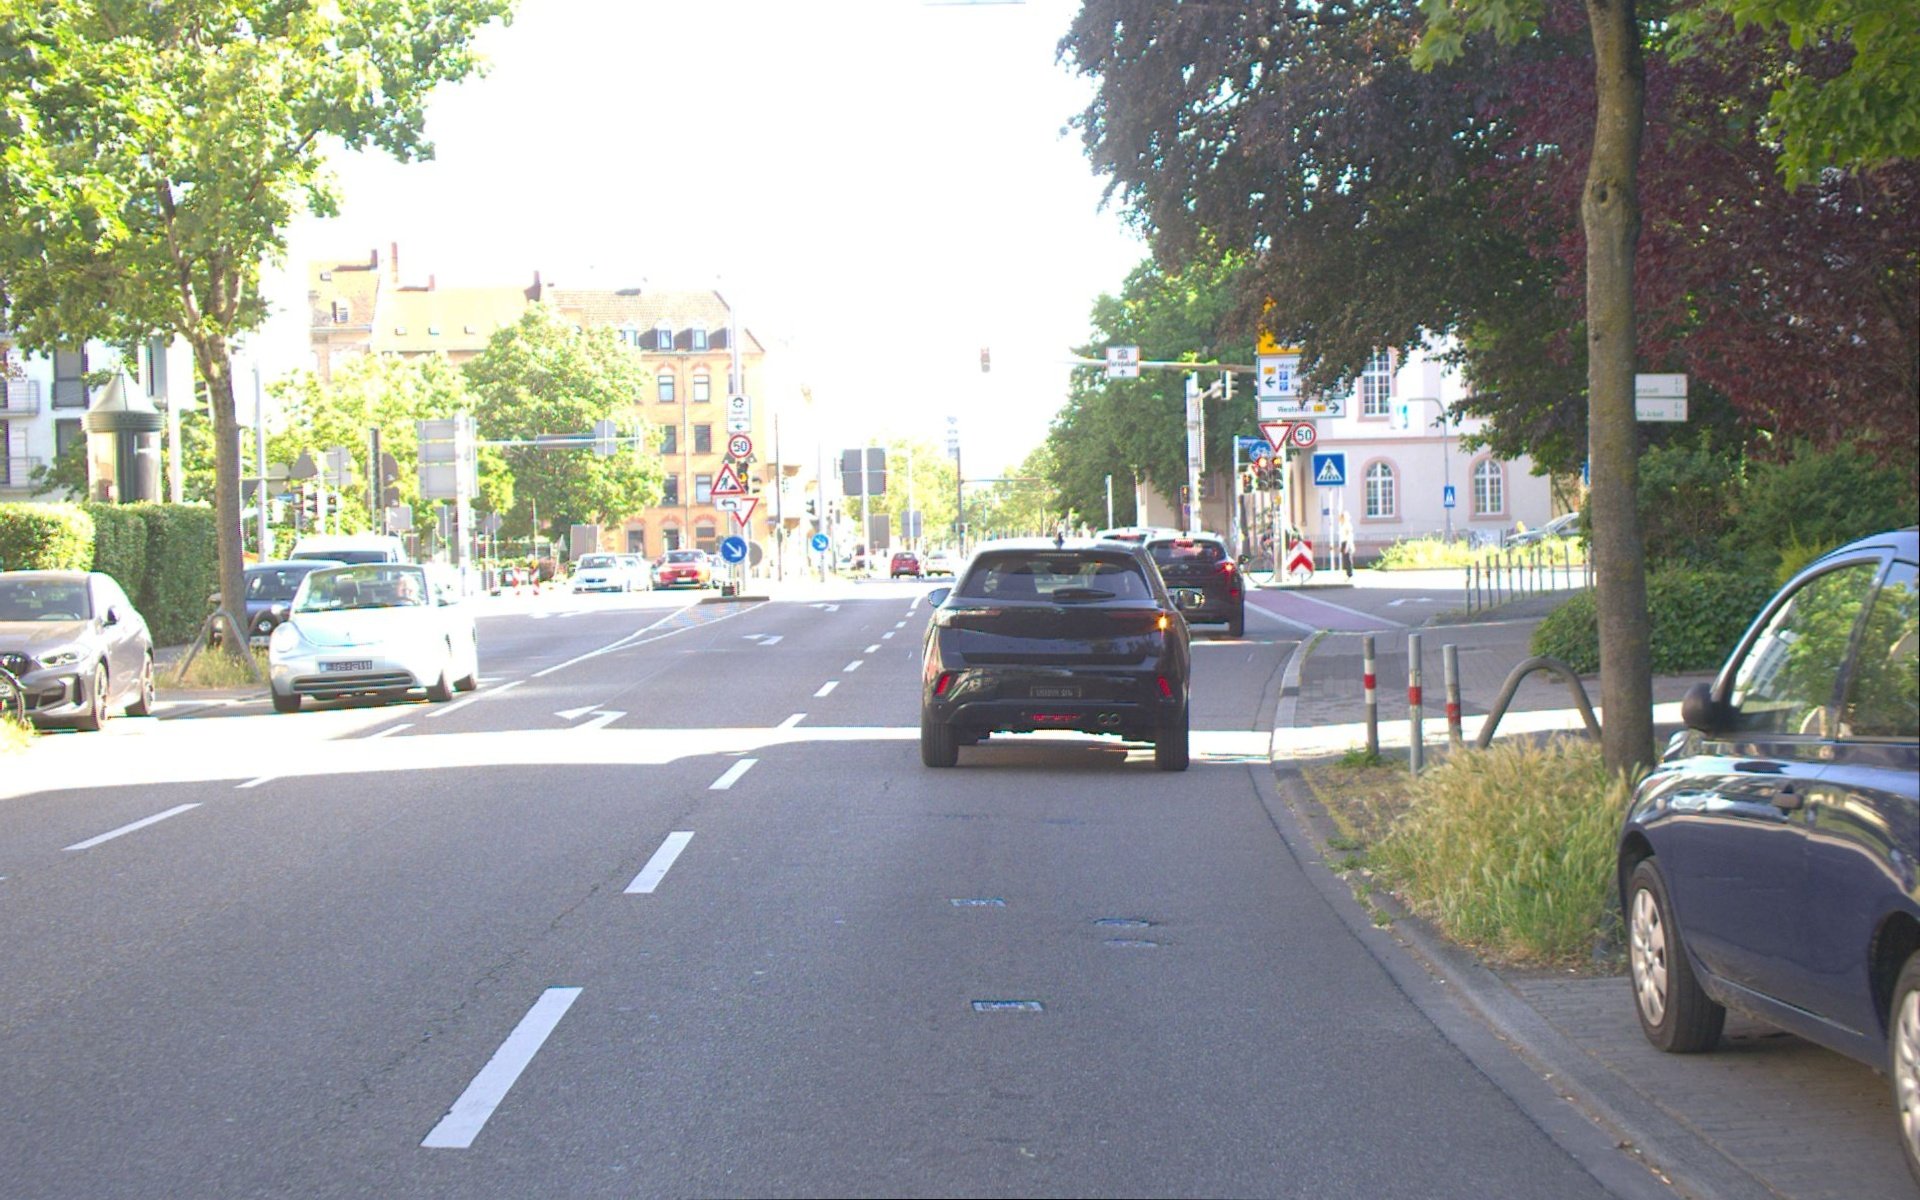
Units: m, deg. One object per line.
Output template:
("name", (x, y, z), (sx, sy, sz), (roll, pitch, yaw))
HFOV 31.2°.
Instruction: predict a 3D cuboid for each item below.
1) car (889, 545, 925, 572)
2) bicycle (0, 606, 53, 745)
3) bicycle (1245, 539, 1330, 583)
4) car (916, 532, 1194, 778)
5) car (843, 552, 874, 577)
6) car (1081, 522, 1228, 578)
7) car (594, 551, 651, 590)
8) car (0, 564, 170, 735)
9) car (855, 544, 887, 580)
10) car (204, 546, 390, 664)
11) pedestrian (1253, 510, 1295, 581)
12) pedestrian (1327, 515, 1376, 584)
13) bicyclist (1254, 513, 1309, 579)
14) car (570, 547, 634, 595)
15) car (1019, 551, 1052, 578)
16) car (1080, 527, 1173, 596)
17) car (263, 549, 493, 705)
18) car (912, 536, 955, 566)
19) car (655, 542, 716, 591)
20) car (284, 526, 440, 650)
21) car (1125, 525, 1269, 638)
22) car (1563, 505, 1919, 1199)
("car", (-2.895, -2.294, 188.800), (1.810, 1.402, 4.000), (-1, 1, 0))
("bicycle", (-8.444, 0.646, 28.741), (1.543, 1.130, 0.548), (-2, 1, -2))
("bicycle", (8.175, -0.974, 85.755), (2.031, 1.057, 0.622), (-1, 1, -17))
("car", (0.585, 0.322, 23.731), (1.745, 1.568, 3.558), (0, 1, -1))
("car", (-6.403, -2.244, 217.010), (1.874, 1.443, 4.000), (-1, 1, -1))
("car", (5.414, -1.388, 95.658), (3.874, 1.447, 1.777), (-1, 1, 10))
("car", (-13.360, -1.186, 136.218), (1.874, 1.443, 4.000), (-1, 1, -1))
("car", (-8.561, 0.411, 31.850), (1.767, 1.403, 4.367), (-1, 1, -4))
("car", (-5.393, -2.318, 208.724), (1.810, 2.127, 4.000), (-1, 1, -1))
("car", (-8.802, 0.031, 45.946), (1.671, 1.451, 4.111), (-1, 1, 0))
("pedestrian", (7.600, -1.329, 83.181), (0.825, 1.696, 0.918), (-1, 1, -6))
("pedestrian", (9.560, -1.234, 84.032), (1.040, 1.654, 0.784), (-2, 1, -3))
("bicyclist", (8.025, -1.358, 85.718), (1.164, 1.628, 0.729), (-1, 1, -17))
("car", (-12.762, -1.044, 122.628), (1.874, 1.611, 4.000), (-1, 1, -1))
("car", (4.879, -2.300, 221.398), (1.861, 1.654, 3.999), (1, 1, 4))
("car", (3.674, -0.874, 76.406), (1.830, 1.447, 3.988), (-1, 1, 0))
("car", (-5.857, 0.231, 35.004), (1.737, 1.377, 3.937), (-3, 2, -2))
("car", (-1.577, -2.868, 202.332), (2.175, 1.692, 4.001), (-2, 1, -5))
("car", (-9.622, -1.185, 120.817), (1.791, 1.611, 4.000), (-1, 1, 0))
("car", (-9.301, -0.223, 53.755), (1.818, 1.827, 4.563), (-1, 1, -3))
("car", (3.508, -0.308, 51.527), (1.830, 1.573, 3.839), (-2, 1, 0))
("car", (2.748, 0.514, 8.687), (1.559, 1.510, 3.655), (-3, 1, -3))
